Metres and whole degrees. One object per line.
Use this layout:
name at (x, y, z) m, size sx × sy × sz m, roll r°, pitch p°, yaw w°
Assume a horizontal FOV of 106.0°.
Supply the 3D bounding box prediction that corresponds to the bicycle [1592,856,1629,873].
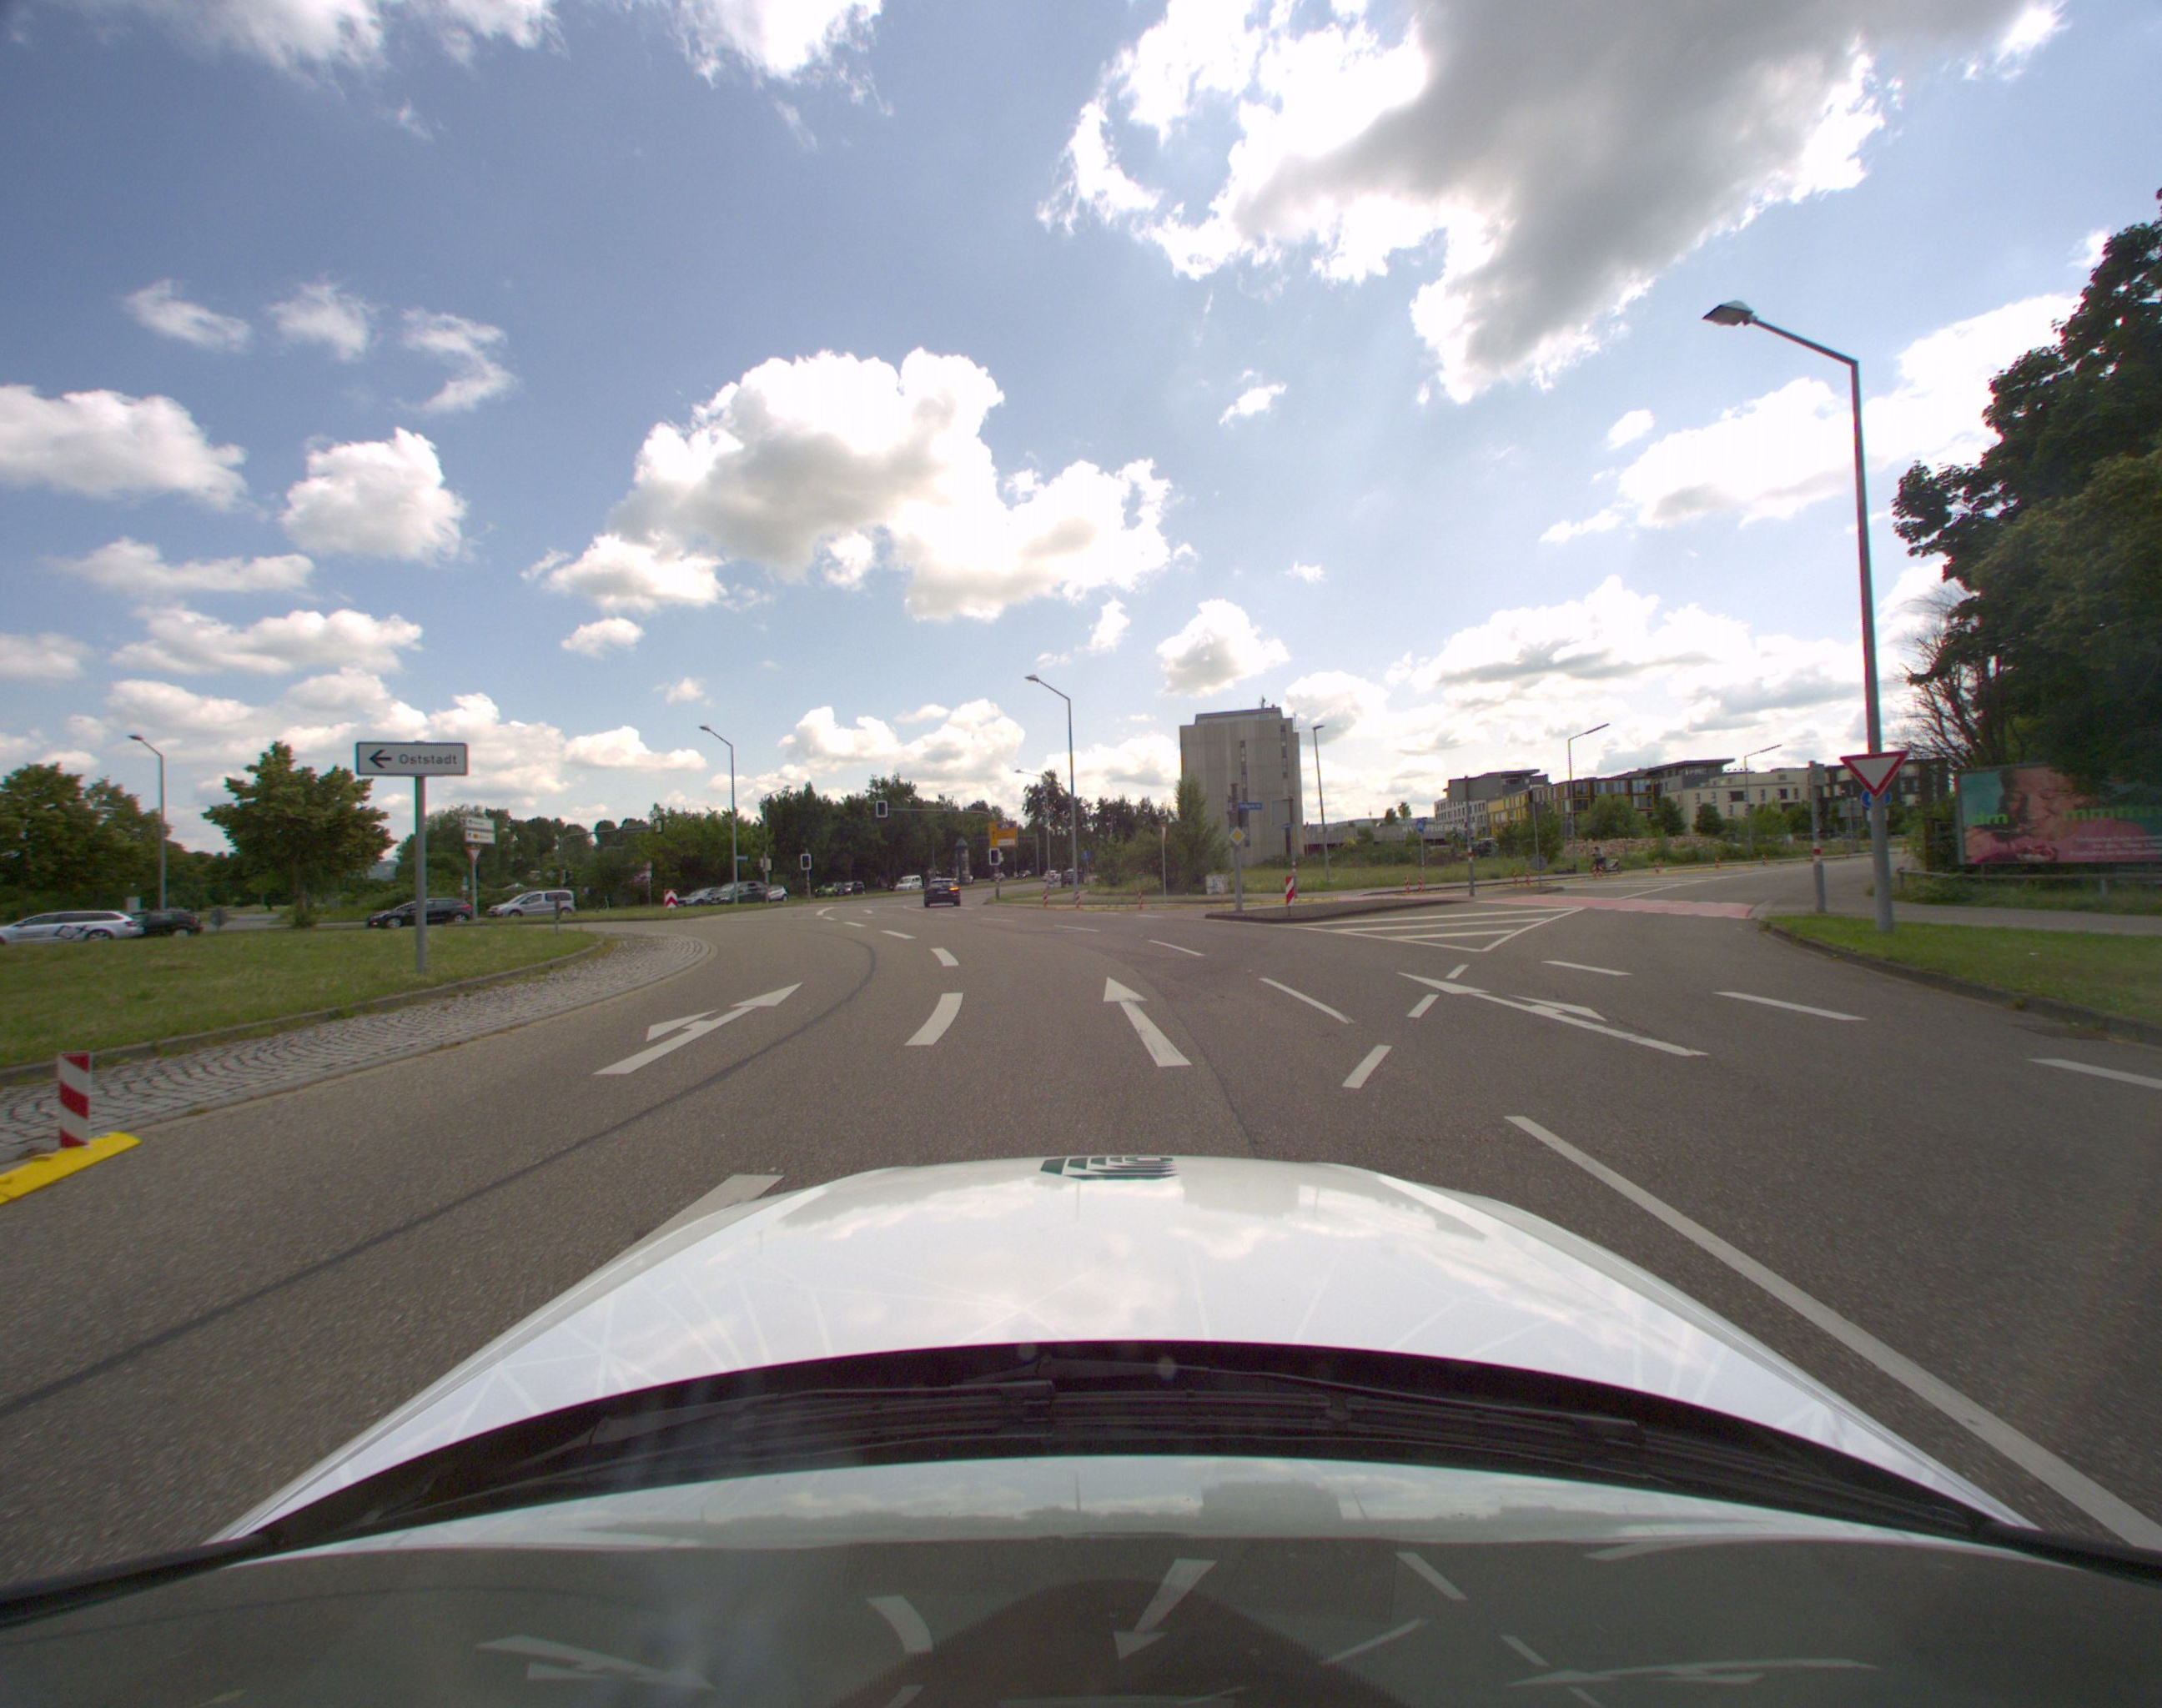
bicycle at (32.063, 0.660, 49.290) m, size 2.552 × 1.018 × 0.867 m, roll 1°, pitch -3°, yaw -31°

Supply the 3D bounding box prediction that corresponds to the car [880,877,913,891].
car at (-21.379, 3.454, 94.581) m, size 1.824 × 1.443 × 4.437 m, roll -5°, pitch -2°, yaw 15°

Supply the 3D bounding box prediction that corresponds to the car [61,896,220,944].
car at (-43.060, 2.964, 37.460) m, size 2.098 × 1.821 × 4.691 m, roll -3°, pitch -1°, yaw 42°

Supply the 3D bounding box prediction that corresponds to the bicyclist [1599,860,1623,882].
bicyclist at (32.043, 1.024, 49.242) m, size 0.814 × 1.325 × 0.868 m, roll 1°, pitch -2°, yaw -26°

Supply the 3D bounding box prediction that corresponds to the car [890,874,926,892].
car at (-18.711, 3.115, 88.335) m, size 1.825 × 1.799 × 4.803 m, roll -4°, pitch -2°, yaw 12°

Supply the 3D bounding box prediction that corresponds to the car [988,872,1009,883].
car at (-13.006, 3.701, 128.774) m, size 1.711 × 1.591 × 5.028 m, roll -3°, pitch -2°, yaw 11°

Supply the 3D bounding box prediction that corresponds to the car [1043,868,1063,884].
car at (-3.667, 2.845, 107.391) m, size 1.982 × 2.014 × 4.009 m, roll -1°, pitch -1°, yaw 9°

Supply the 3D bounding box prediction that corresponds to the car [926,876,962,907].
car at (-7.001, 1.872, 41.860) m, size 1.683 × 1.463 × 3.989 m, roll -1°, pitch -1°, yaw -8°

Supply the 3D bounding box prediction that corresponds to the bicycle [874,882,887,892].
bicycle at (-25.402, 4.152, 103.103) m, size 0.756 × 1.219 × 2.022 m, roll 0°, pitch -1°, yaw 11°

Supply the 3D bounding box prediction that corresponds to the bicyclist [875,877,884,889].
bicyclist at (-25.432, 3.661, 102.912) m, size 0.824 × 1.565 × 0.886 m, roll 0°, pitch -1°, yaw 11°

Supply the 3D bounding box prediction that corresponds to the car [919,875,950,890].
car at (-17.102, 3.315, 95.146) m, size 1.826 × 1.480 × 4.768 m, roll -4°, pitch -2°, yaw 11°

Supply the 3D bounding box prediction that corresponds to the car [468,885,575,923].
car at (-33.278, 2.945, 48.602) m, size 1.974 × 2.014 × 4.818 m, roll -3°, pitch -1°, yaw 32°

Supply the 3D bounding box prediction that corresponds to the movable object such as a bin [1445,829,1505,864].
movable object such as a bin at (46.240, -0.815, 95.459) m, size 7.649 × 3.853 × 3.015 m, roll 1°, pitch -3°, yaw -36°

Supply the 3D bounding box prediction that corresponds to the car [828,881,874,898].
car at (-21.245, 3.231, 75.388) m, size 1.825 × 1.310 × 4.805 m, roll -4°, pitch -2°, yaw 14°

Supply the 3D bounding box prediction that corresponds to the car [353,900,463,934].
car at (-34.020, 3.149, 41.235) m, size 1.779 × 1.340 × 4.005 m, roll -5°, pitch -1°, yaw 41°

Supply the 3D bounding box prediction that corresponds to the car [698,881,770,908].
car at (-22.900, 2.662, 53.986) m, size 1.894 × 1.592 × 4.610 m, roll -3°, pitch -1°, yaw 15°

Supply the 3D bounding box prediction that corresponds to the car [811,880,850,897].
car at (-23.830, 3.293, 77.687) m, size 1.605 × 1.348 × 4.184 m, roll -4°, pitch -2°, yaw 12°

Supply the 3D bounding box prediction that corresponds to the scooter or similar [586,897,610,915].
scooter or similar at (-33.191, 3.557, 55.961) m, size 0.536 × 1.166 × 1.446 m, roll -2°, pitch -1°, yaw 15°

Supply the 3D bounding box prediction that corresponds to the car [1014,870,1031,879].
car at (-10.417, 3.646, 145.270) m, size 1.752 × 1.577 × 5.046 m, roll -3°, pitch -1°, yaw 11°

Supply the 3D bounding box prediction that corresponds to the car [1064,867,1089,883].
car at (-0.495, 2.388, 93.777) m, size 1.980 × 1.626 × 4.324 m, roll -2°, pitch -1°, yaw 12°

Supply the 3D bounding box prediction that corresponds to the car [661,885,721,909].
car at (-26.529, 2.901, 55.526) m, size 1.898 × 1.423 × 4.194 m, roll -2°, pitch -1°, yaw 3°

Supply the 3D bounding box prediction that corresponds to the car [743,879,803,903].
car at (-24.847, 2.977, 65.931) m, size 1.978 × 1.686 × 4.809 m, roll -3°, pitch -1°, yaw 17°

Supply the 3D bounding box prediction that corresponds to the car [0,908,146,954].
car at (-41.587, 3.108, 33.117) m, size 2.097 × 1.521 × 4.534 m, roll -3°, pitch -1°, yaw 44°
